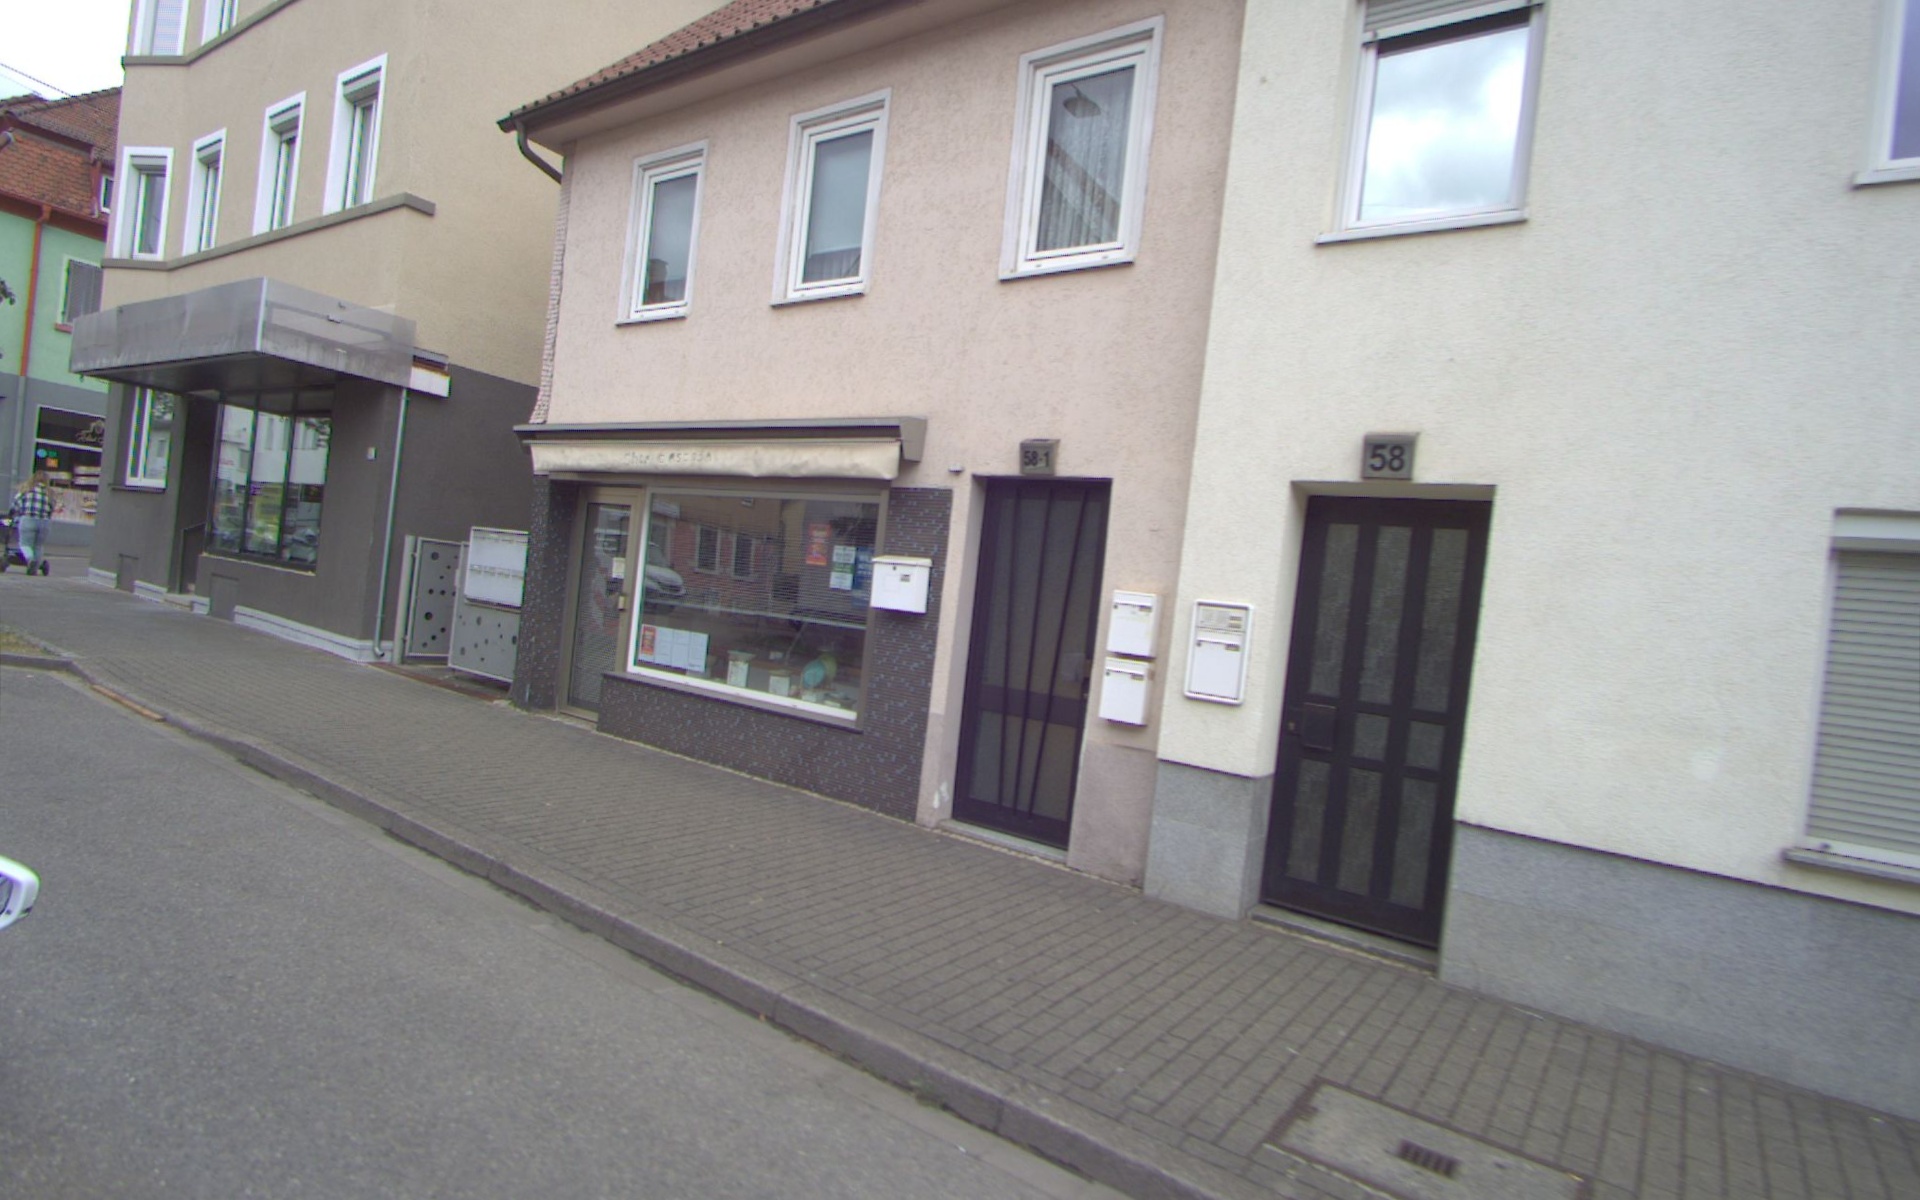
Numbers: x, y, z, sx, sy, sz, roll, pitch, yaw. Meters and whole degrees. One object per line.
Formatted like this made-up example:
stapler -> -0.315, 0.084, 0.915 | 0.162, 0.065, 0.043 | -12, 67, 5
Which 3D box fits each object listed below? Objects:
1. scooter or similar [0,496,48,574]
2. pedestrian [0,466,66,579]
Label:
scooter or similar -> -16.395, -1.139, 17.430 | 0.877, 1.247, 0.590 | 7, 0, 35
pedestrian -> -15.678, -1.296, 16.831 | 0.886, 1.740, 0.751 | 7, 0, 35
